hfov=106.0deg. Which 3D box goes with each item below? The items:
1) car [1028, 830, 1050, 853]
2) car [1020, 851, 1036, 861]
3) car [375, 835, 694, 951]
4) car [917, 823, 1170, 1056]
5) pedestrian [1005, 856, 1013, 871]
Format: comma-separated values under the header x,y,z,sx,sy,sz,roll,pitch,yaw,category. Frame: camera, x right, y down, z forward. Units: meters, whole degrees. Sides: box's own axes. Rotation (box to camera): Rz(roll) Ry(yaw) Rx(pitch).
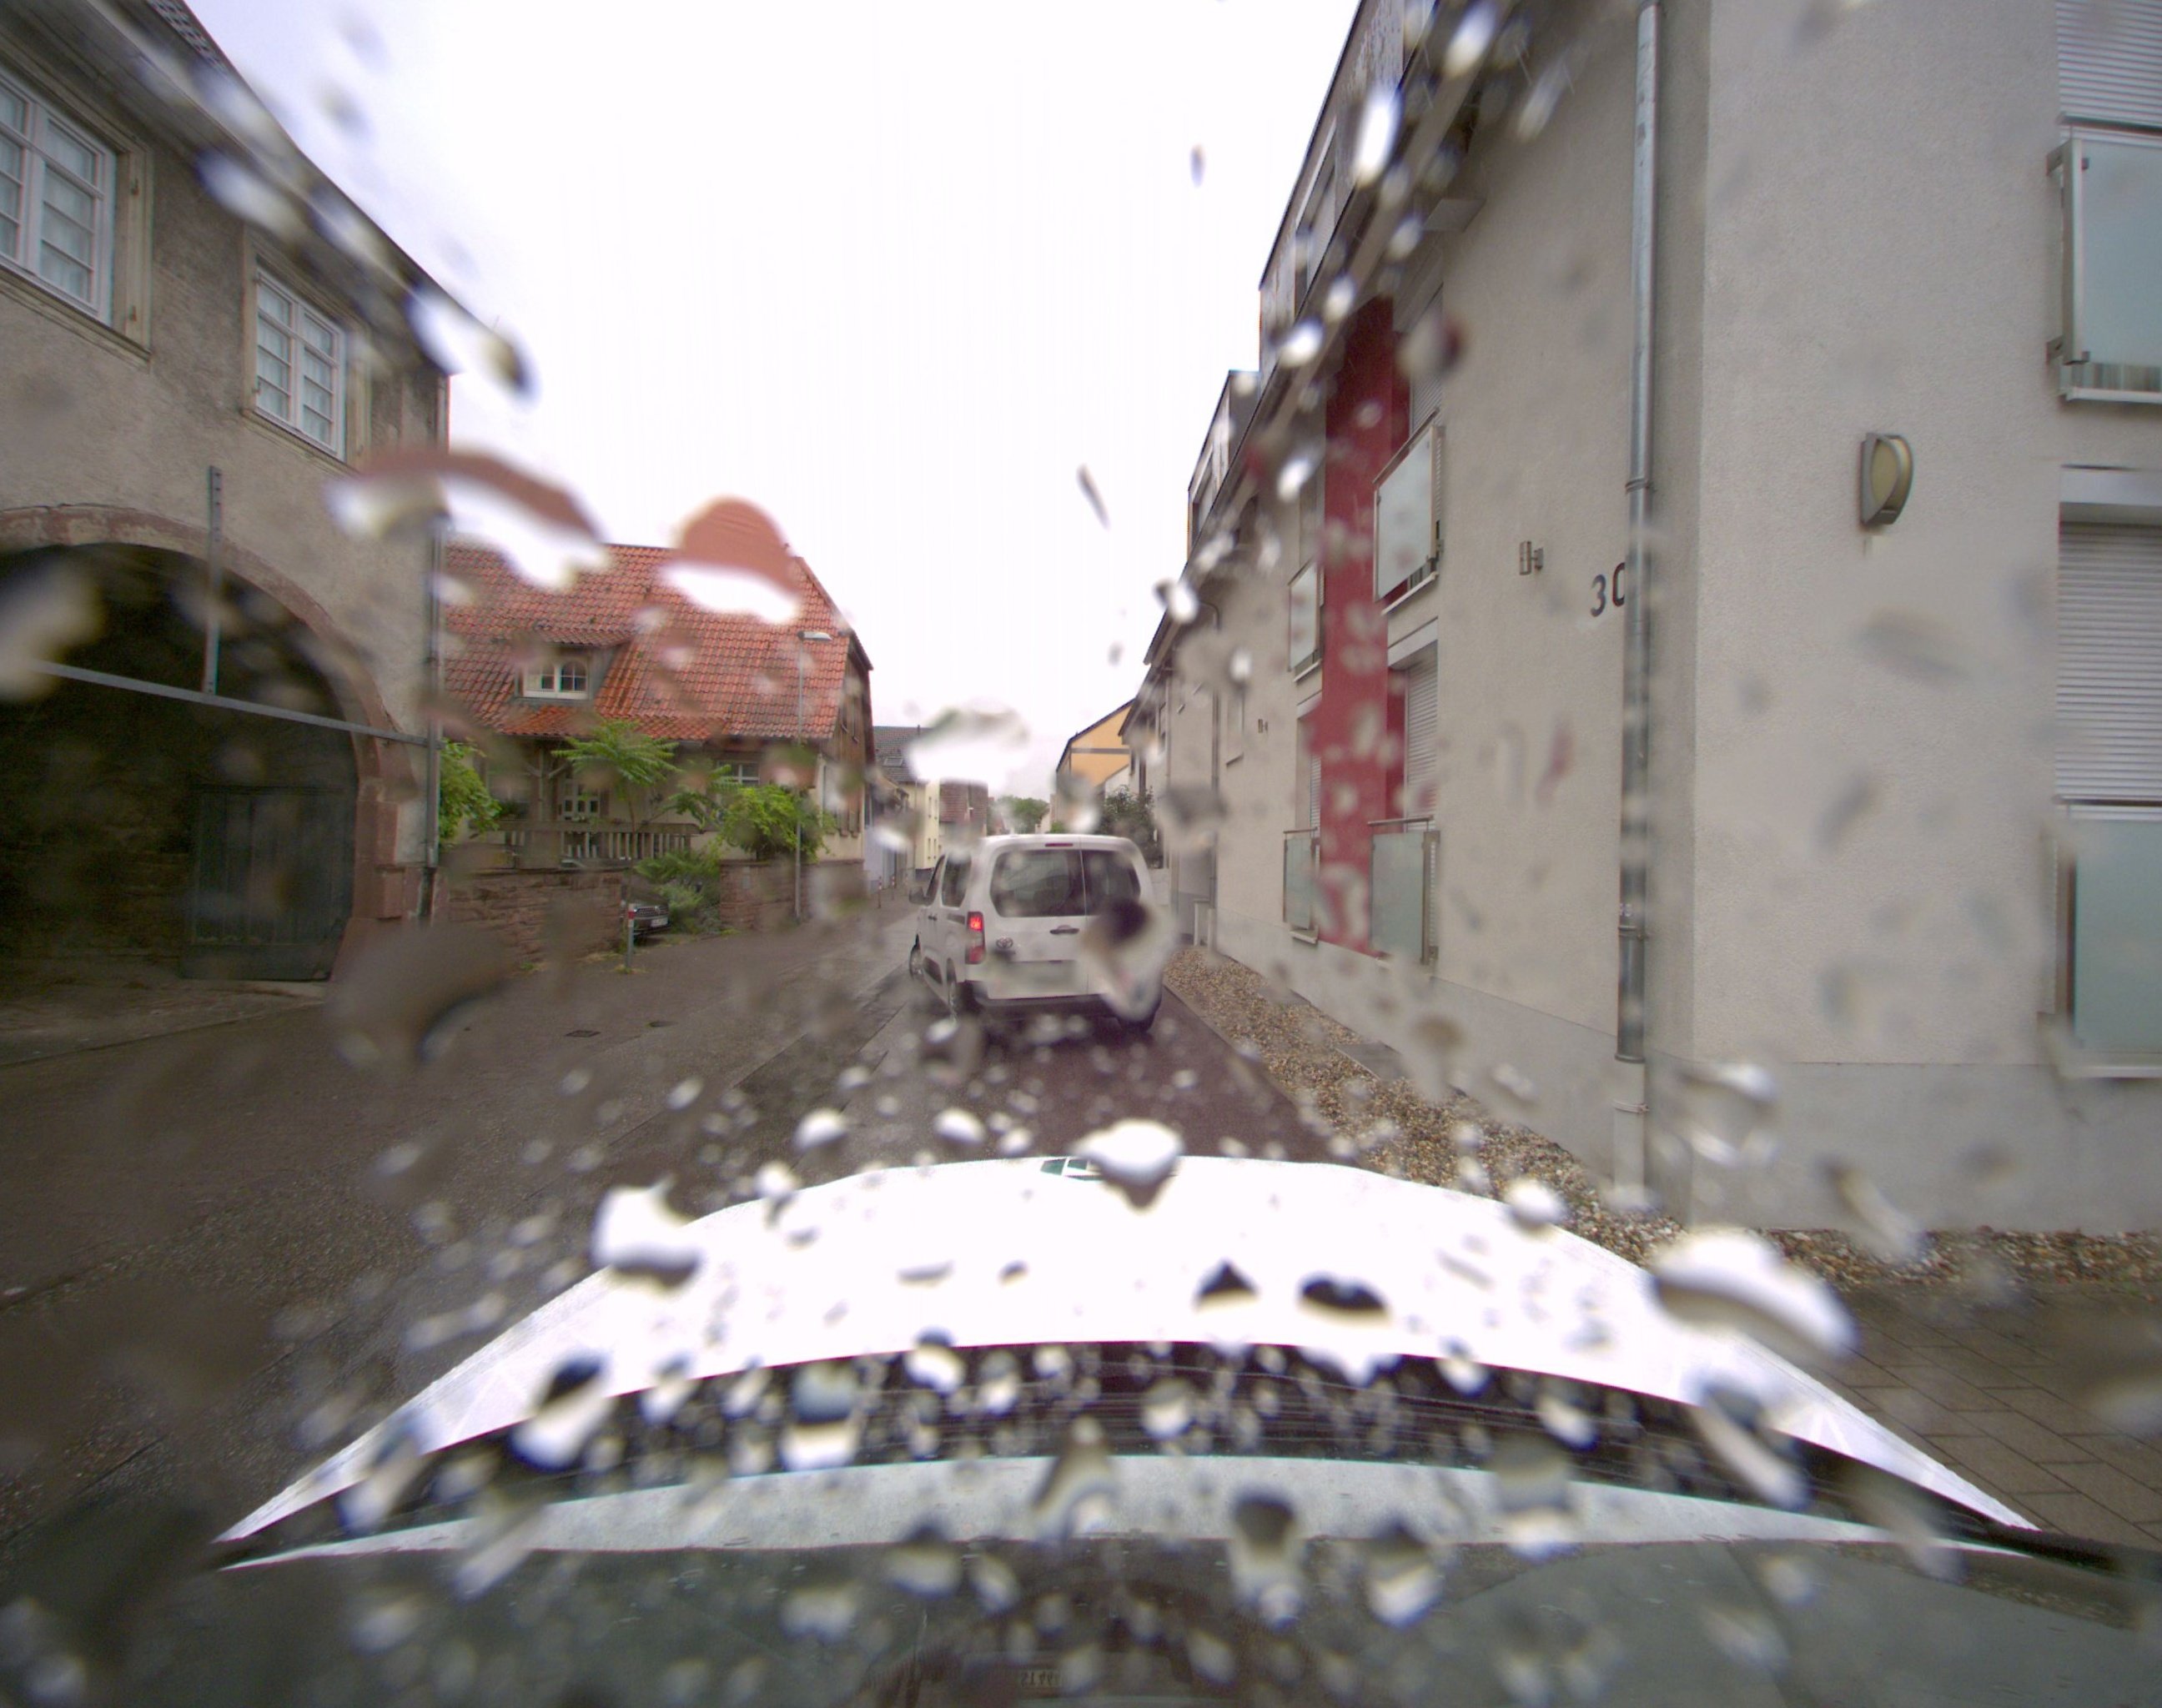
x,y,z,sx,sy,sz,roll,pitch,yaw,category
-3.948,-1.166,76.628,1.989,2.014,3.996,0,-1,-2,car
-9.203,0.347,141.506,1.982,1.559,3.440,-2,2,8,car
-8.861,0.612,13.447,3.972,1.425,1.736,5,-1,2,car
-0.644,0.671,8.401,1.778,1.780,3.979,0,-1,-15,car
-8.989,1.160,101.763,1.049,1.893,0.875,0,-1,-6,pedestrian
